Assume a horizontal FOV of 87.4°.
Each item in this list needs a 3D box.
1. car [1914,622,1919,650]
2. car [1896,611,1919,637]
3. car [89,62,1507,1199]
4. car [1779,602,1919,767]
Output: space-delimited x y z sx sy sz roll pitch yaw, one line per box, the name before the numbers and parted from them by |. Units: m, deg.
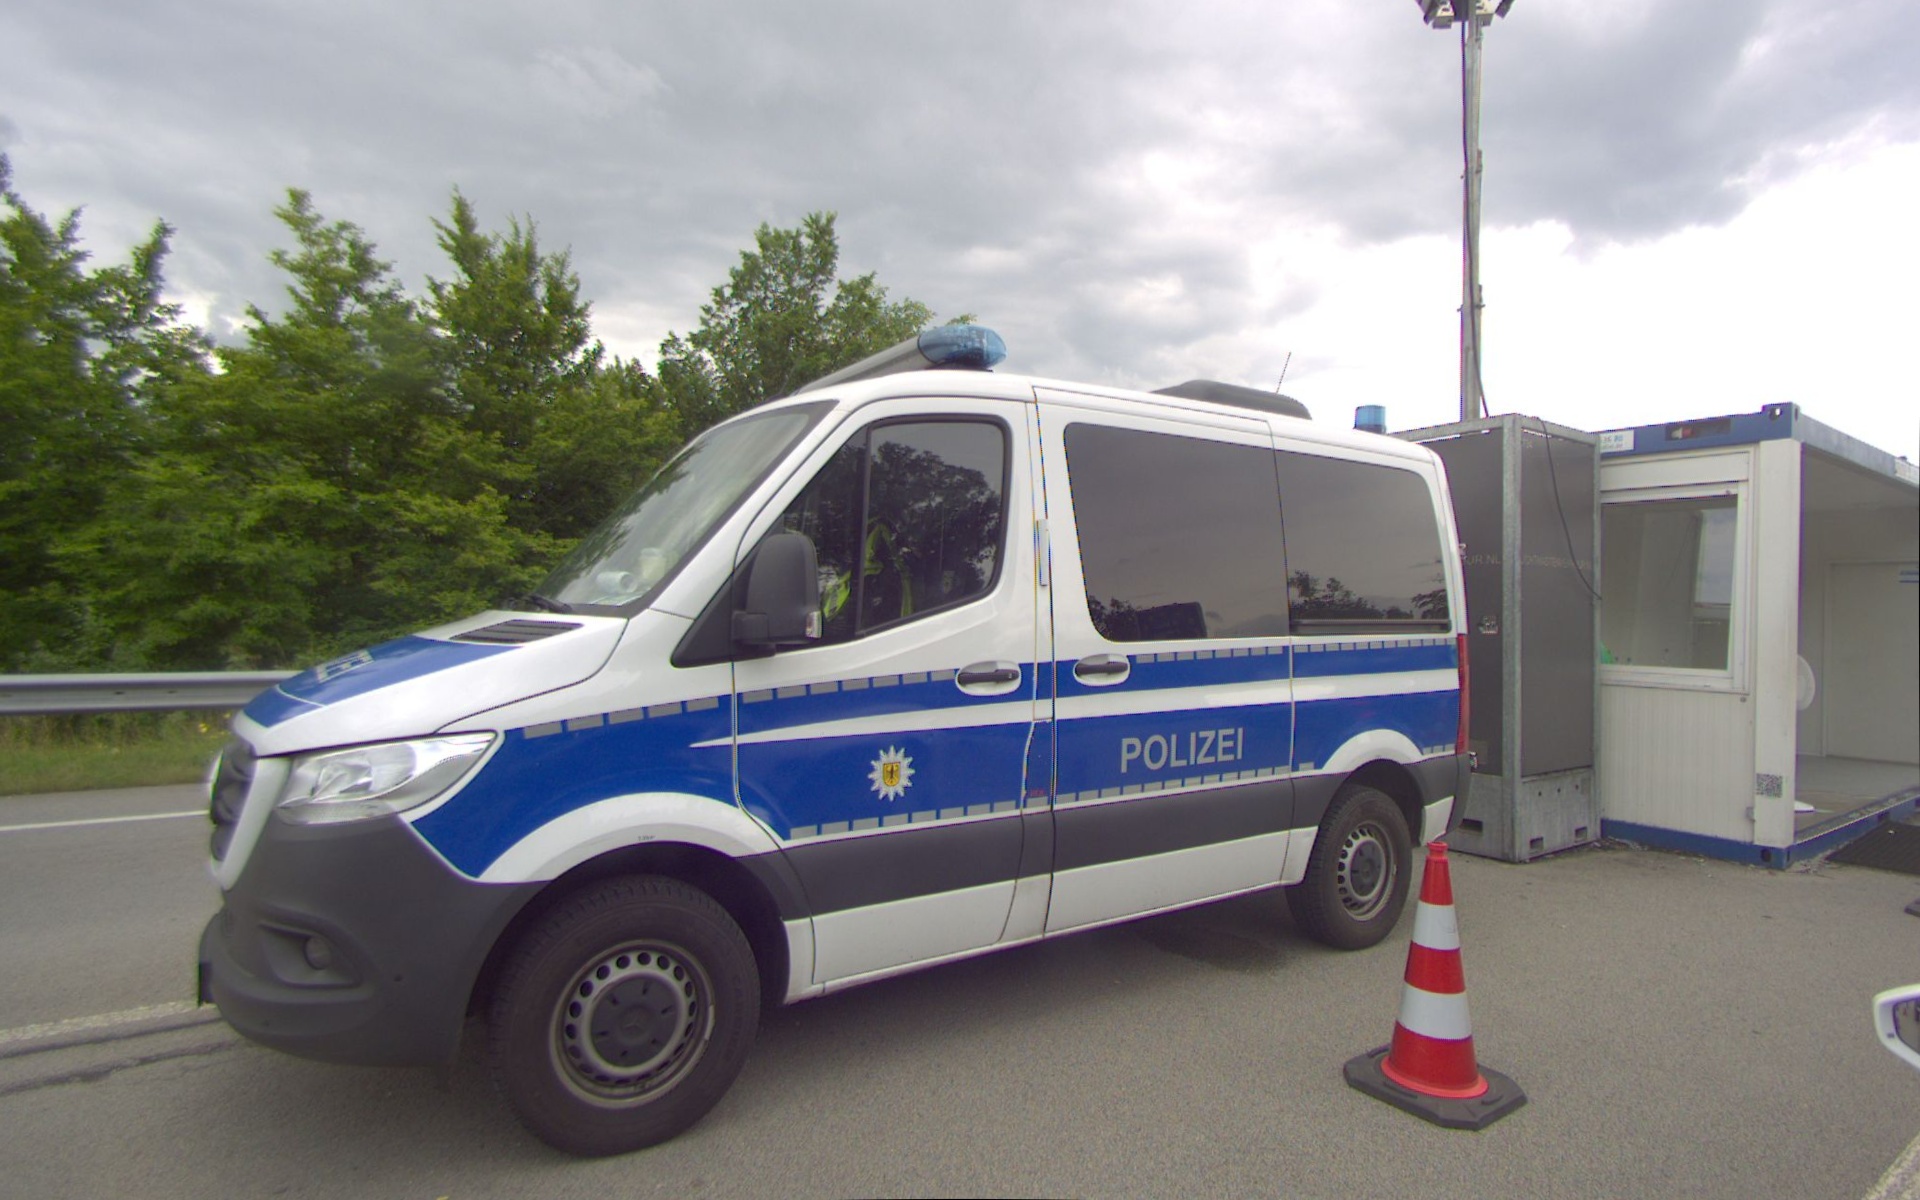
car | 54.027 1.993 55.474 1.836 1.518 4.230 1 -1 45
car | 85.010 2.176 89.600 1.832 2.252 4.240 1 0 38
car | -0.073 0.239 4.284 5.224 2.496 2.017 1 0 -34
car | 11.798 0.951 12.163 3.967 1.767 1.857 1 0 -34
